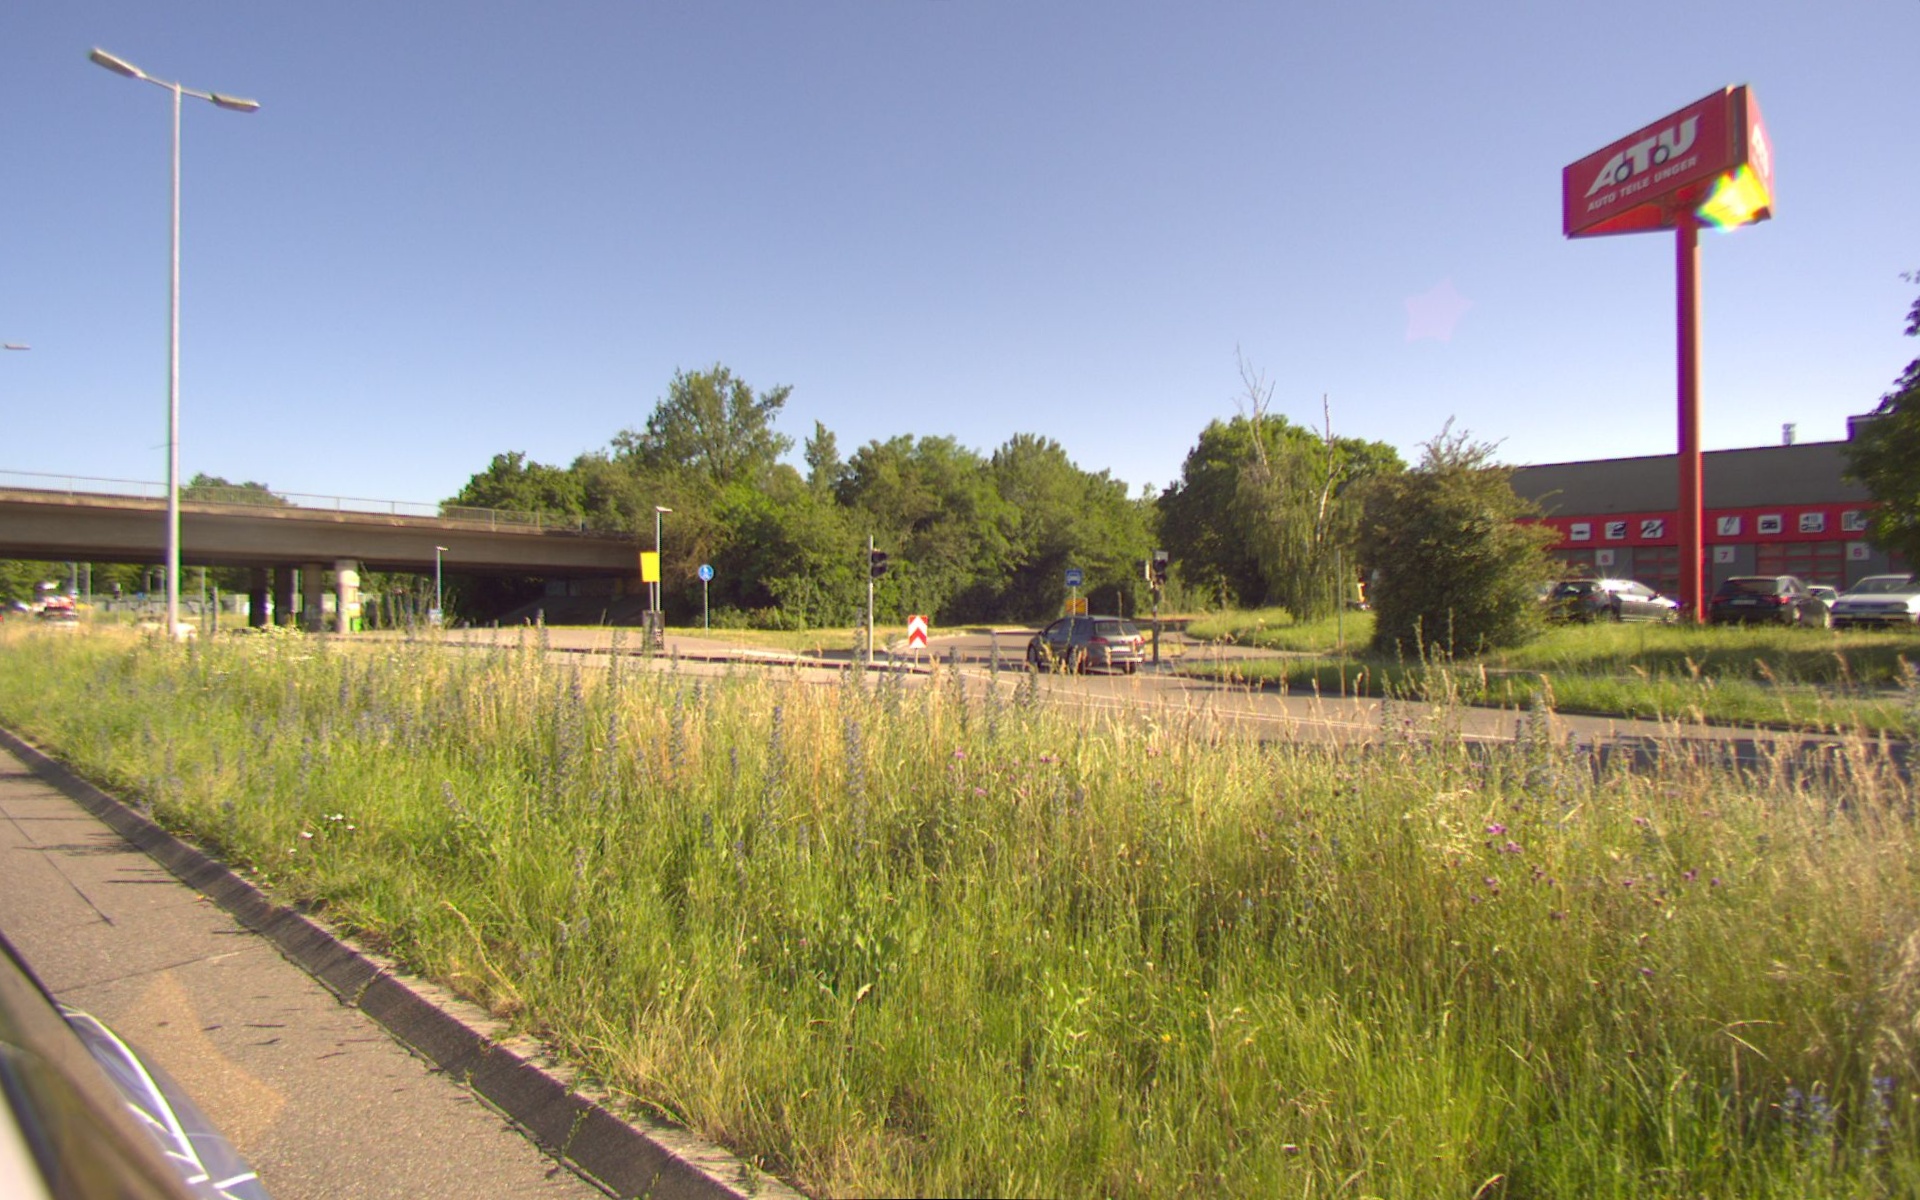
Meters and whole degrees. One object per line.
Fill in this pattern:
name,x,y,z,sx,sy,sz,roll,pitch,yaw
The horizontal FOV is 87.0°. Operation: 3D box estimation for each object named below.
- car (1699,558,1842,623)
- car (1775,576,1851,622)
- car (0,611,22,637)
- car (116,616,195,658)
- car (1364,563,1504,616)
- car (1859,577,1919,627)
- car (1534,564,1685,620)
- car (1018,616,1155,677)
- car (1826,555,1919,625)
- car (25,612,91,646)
car,21.157,-0.215,26.380,4.064,1.563,1.900,0,-1,-36
car,29.385,-0.005,34.884,1.894,1.466,4.075,-1,-1,41
car,-58.702,1.438,61.715,3.587,1.541,1.617,-1,-1,38
car,-30.037,1.337,37.739,4.102,1.455,1.615,-1,-1,41
car,19.966,-0.425,42.803,4.990,2.168,1.890,0,-1,10
car,29.329,0.066,30.005,3.984,1.466,1.760,-1,-1,43
car,19.057,-0.200,29.676,4.060,1.563,1.902,0,-1,-27
car,3.178,1.168,26.428,1.755,1.436,4.395,1,-2,-19
car,22.680,-0.203,24.459,4.065,1.563,1.899,0,-1,-38
car,-42.795,1.363,47.999,3.586,1.541,1.618,-1,-1,36
